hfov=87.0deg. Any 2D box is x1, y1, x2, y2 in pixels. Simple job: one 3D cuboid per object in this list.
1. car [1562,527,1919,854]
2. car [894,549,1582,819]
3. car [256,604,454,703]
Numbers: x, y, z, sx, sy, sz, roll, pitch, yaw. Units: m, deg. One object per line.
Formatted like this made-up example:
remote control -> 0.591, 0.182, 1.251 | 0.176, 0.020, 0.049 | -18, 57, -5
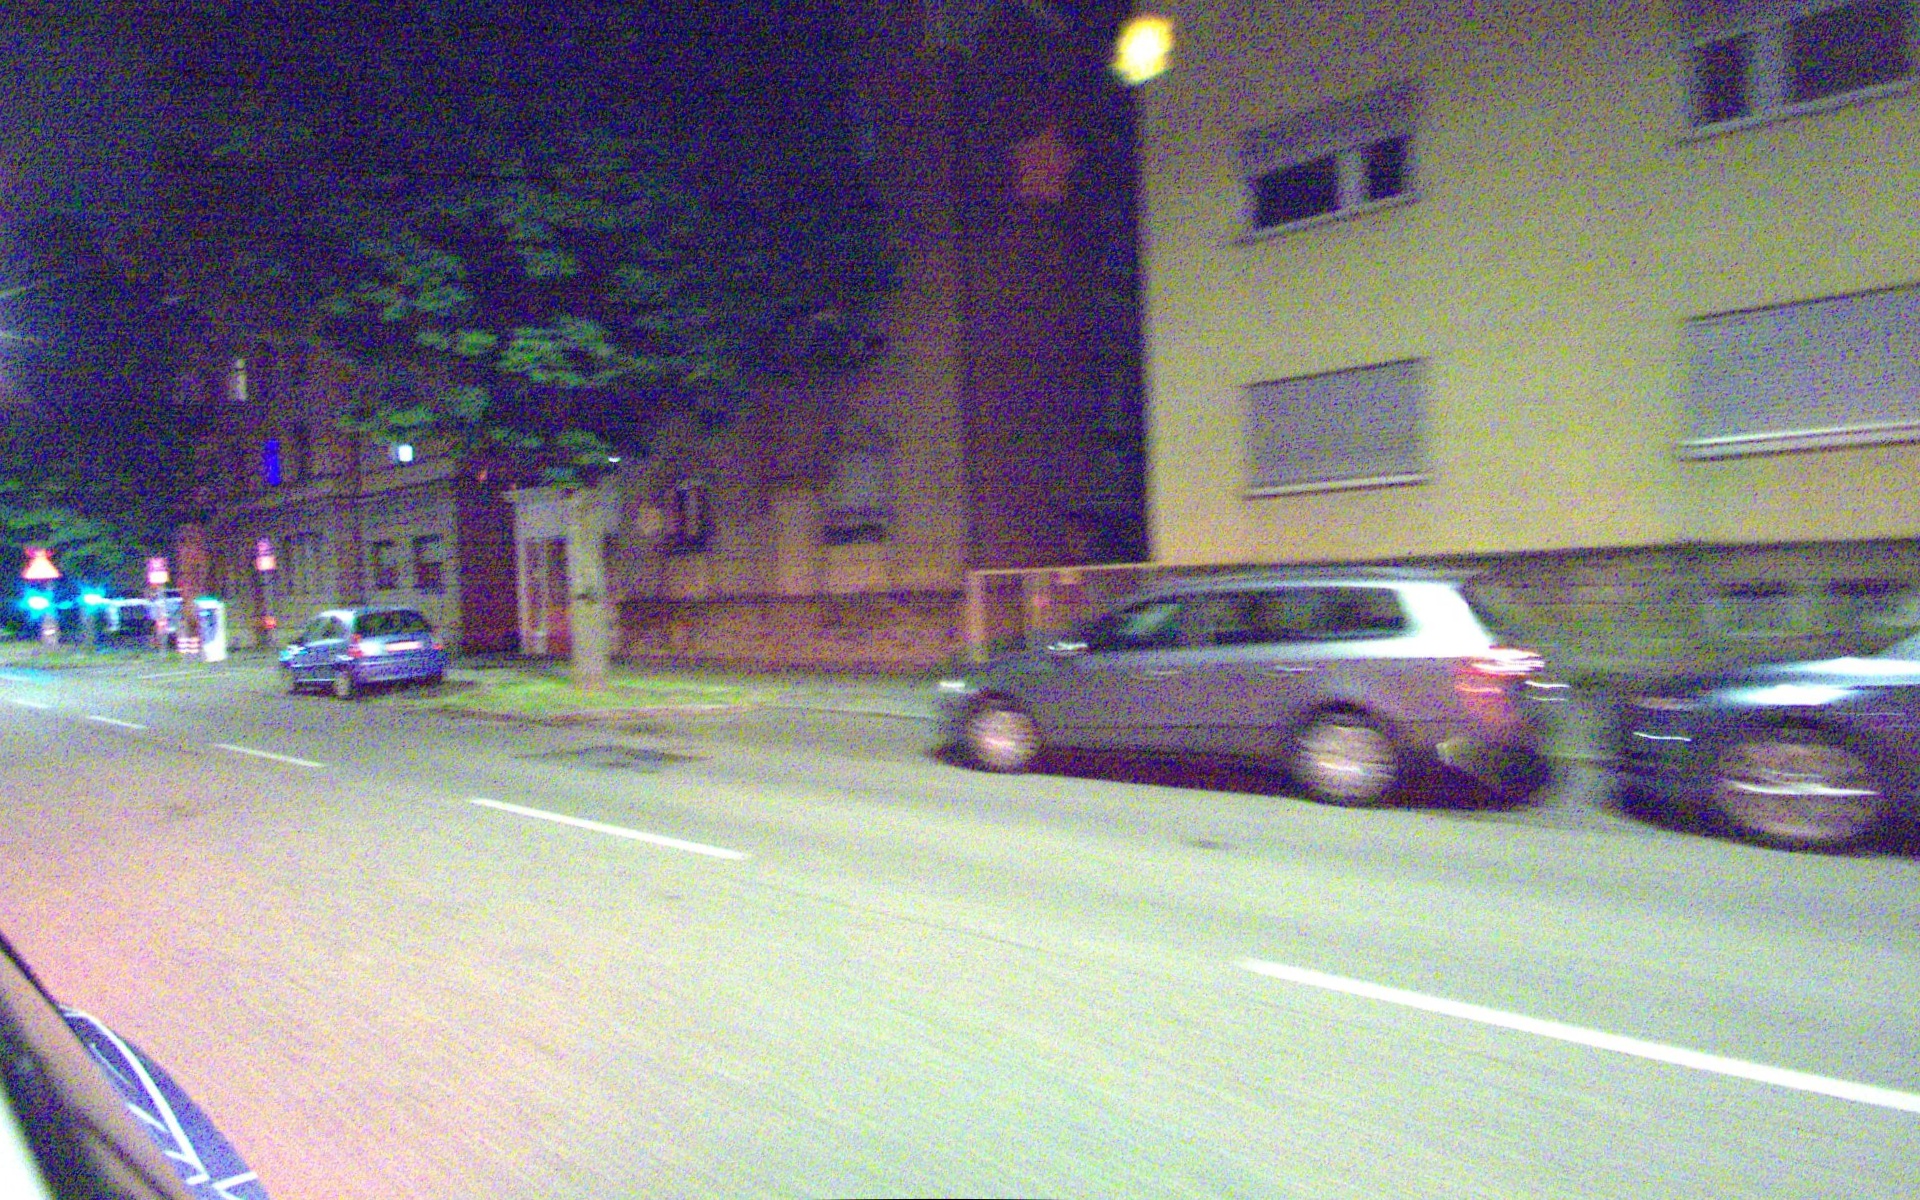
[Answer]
car -> 5.725, 0.373, 4.688 | 4.857, 1.497, 1.751 | -2, 0, 38
car -> 1.879, 0.502, 7.752 | 4.760, 1.497, 1.752 | -2, 0, 37
car -> -10.865, 0.904, 18.078 | 3.985, 1.505, 1.698 | -2, 1, 39
